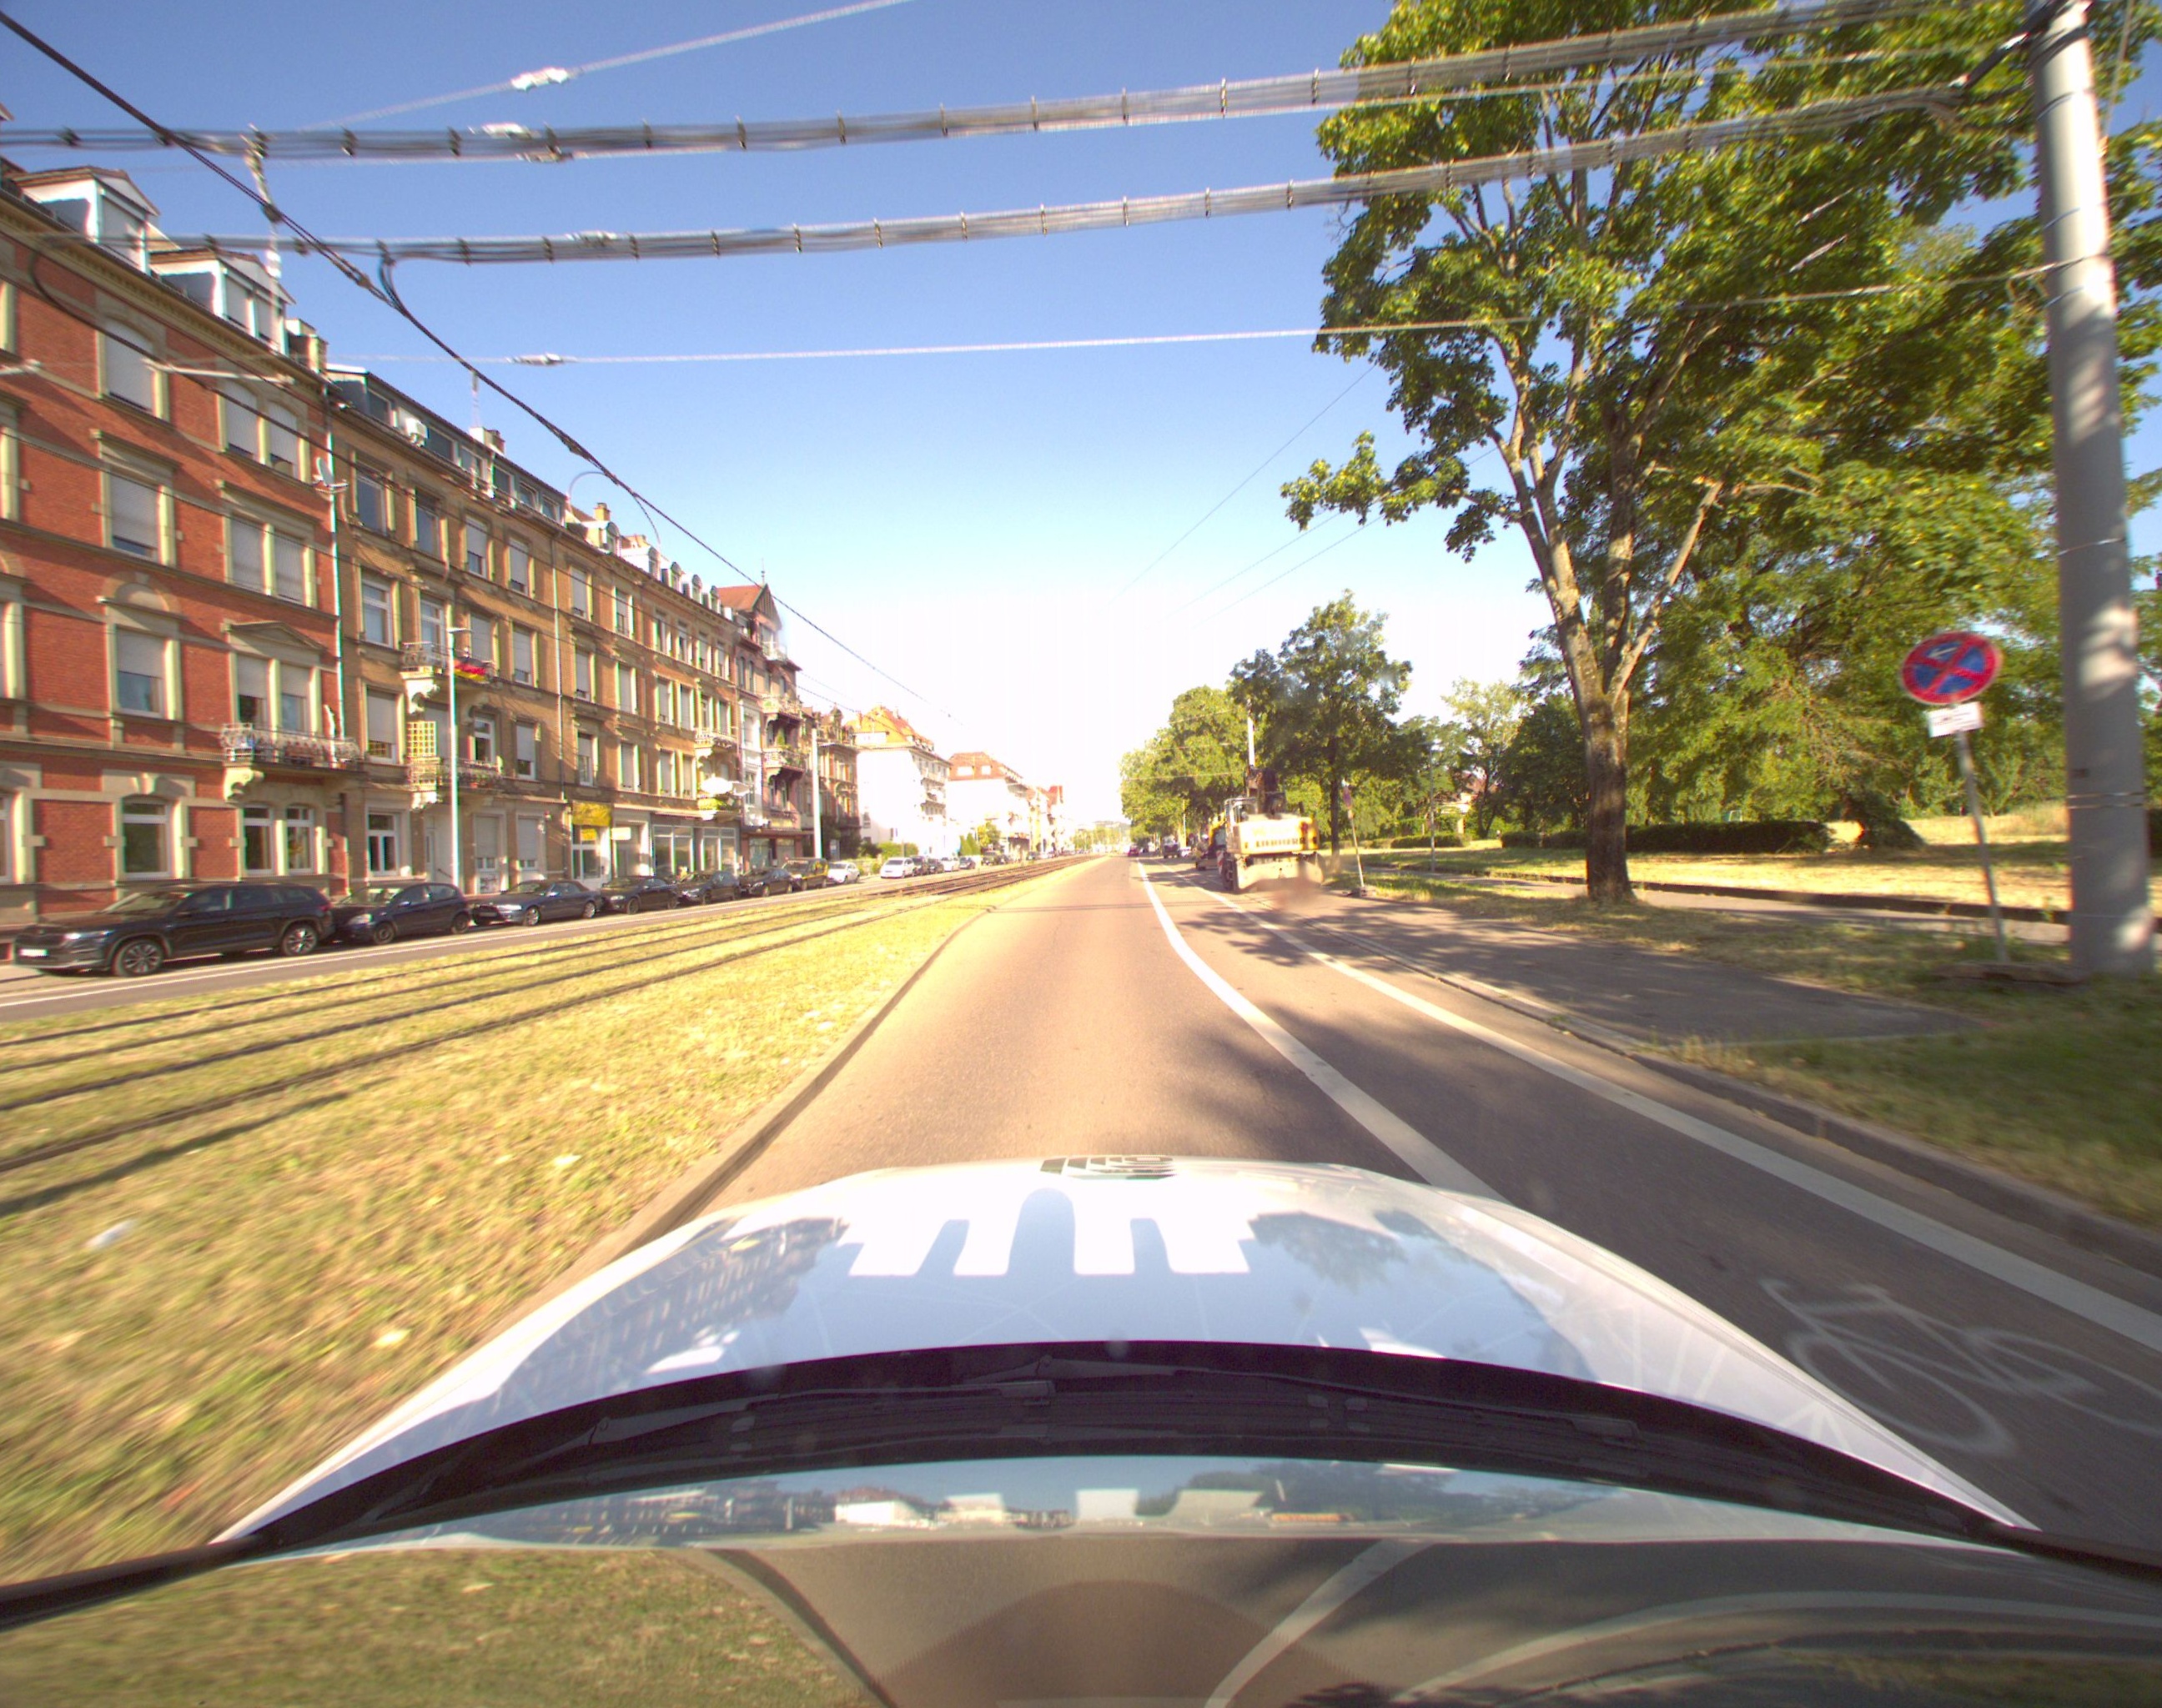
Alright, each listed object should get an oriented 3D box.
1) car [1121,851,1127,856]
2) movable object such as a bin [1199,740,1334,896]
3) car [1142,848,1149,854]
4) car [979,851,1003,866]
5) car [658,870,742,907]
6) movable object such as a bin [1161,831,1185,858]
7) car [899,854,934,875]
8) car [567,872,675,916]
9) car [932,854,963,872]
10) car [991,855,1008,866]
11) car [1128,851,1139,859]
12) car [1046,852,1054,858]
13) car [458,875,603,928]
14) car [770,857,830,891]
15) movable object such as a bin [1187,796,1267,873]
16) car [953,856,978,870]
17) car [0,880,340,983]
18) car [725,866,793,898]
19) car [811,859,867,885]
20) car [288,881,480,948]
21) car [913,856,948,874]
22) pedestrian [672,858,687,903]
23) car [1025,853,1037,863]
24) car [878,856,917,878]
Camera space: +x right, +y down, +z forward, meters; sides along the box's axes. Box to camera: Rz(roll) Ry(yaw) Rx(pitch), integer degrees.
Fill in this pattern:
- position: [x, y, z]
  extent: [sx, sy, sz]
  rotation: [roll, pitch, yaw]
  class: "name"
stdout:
- position: [12.893, -0.215, 242.738]
  extent: [1.787, 1.510, 4.003]
  rotation: [0, -1, 3]
  class: "car"
- position: [6.313, -1.136, 29.097]
  extent: [2.903, 4.610, 7.602]
  rotation: [-5, 0, 2]
  class: "movable object such as a bin"
- position: [17.458, -0.760, 220.295]
  extent: [1.787, 1.510, 4.003]
  rotation: [-2, 0, 3]
  class: "car"
- position: [-12.428, 0.577, 112.792]
  extent: [2.067, 2.010, 5.600]
  rotation: [0, 0, 5]
  class: "car"
- position: [-16.919, 1.475, 36.374]
  extent: [1.652, 1.446, 3.985]
  rotation: [-1, 0, 4]
  class: "car"
- position: [12.149, -1.241, 108.381]
  extent: [2.732, 3.145, 7.229]
  rotation: [-6, 0, 5]
  class: "movable object such as a bin"
- position: [-14.672, 0.914, 72.772]
  extent: [1.912, 1.780, 4.503]
  rotation: [-1, 0, 4]
  class: "car"
- position: [-17.388, 1.455, 31.006]
  extent: [1.652, 1.446, 3.985]
  rotation: [-1, 0, 4]
  class: "car"
- position: [-13.807, 0.921, 84.287]
  extent: [1.911, 1.694, 4.850]
  rotation: [-1, 0, 6]
  class: "car"
- position: [-11.859, 0.975, 119.044]
  extent: [1.627, 1.507, 4.165]
  rotation: [-2, -1, 5]
  class: "car"
- position: [9.034, 0.161, 140.233]
  extent: [1.826, 1.391, 4.162]
  rotation: [-2, 0, 3]
  class: "car"
- position: [-7.415, 0.327, 193.746]
  extent: [1.828, 1.391, 4.033]
  rotation: [1, 0, -1]
  class: "car"
- position: [-17.747, 1.470, 26.526]
  extent: [1.652, 1.446, 4.201]
  rotation: [-1, 0, 4]
  class: "car"
- position: [-16.225, 1.106, 47.291]
  extent: [1.653, 1.807, 4.730]
  rotation: [-1, 0, 2]
  class: "car"
- position: [8.580, -1.121, 48.949]
  extent: [3.326, 3.976, 7.602]
  rotation: [-5, 0, 2]
  class: "movable object such as a bin"
- position: [-13.203, 1.040, 93.398]
  extent: [1.913, 1.460, 4.845]
  rotation: [3, 1, 2]
  class: "car"
- position: [-18.409, 1.460, 16.760]
  extent: [1.785, 1.643, 4.638]
  rotation: [-1, 0, 6]
  class: "car"
- position: [-16.292, 1.378, 41.404]
  extent: [1.652, 1.446, 3.985]
  rotation: [-1, 0, 4]
  class: "car"
- position: [-16.154, 1.167, 54.610]
  extent: [1.911, 1.538, 4.635]
  rotation: [-1, 0, 6]
  class: "car"
- position: [-18.128, 1.529, 21.439]
  extent: [1.652, 1.446, 3.769]
  rotation: [-1, 0, 4]
  class: "car"
- position: [-14.353, 1.056, 77.877]
  extent: [1.911, 1.560, 4.850]
  rotation: [-1, 0, 6]
  class: "car"
- position: [-18.359, 1.199, 37.240]
  extent: [0.637, 2.014, 0.870]
  rotation: [0, -1, -26]
  class: "pedestrian"
- position: [-9.540, 0.715, 155.725]
  extent: [1.855, 1.786, 4.405]
  rotation: [0, 1, 3]
  class: "car"
- position: [-15.144, 1.028, 67.382]
  extent: [1.912, 1.683, 4.632]
  rotation: [-1, 0, 4]
  class: "car"
